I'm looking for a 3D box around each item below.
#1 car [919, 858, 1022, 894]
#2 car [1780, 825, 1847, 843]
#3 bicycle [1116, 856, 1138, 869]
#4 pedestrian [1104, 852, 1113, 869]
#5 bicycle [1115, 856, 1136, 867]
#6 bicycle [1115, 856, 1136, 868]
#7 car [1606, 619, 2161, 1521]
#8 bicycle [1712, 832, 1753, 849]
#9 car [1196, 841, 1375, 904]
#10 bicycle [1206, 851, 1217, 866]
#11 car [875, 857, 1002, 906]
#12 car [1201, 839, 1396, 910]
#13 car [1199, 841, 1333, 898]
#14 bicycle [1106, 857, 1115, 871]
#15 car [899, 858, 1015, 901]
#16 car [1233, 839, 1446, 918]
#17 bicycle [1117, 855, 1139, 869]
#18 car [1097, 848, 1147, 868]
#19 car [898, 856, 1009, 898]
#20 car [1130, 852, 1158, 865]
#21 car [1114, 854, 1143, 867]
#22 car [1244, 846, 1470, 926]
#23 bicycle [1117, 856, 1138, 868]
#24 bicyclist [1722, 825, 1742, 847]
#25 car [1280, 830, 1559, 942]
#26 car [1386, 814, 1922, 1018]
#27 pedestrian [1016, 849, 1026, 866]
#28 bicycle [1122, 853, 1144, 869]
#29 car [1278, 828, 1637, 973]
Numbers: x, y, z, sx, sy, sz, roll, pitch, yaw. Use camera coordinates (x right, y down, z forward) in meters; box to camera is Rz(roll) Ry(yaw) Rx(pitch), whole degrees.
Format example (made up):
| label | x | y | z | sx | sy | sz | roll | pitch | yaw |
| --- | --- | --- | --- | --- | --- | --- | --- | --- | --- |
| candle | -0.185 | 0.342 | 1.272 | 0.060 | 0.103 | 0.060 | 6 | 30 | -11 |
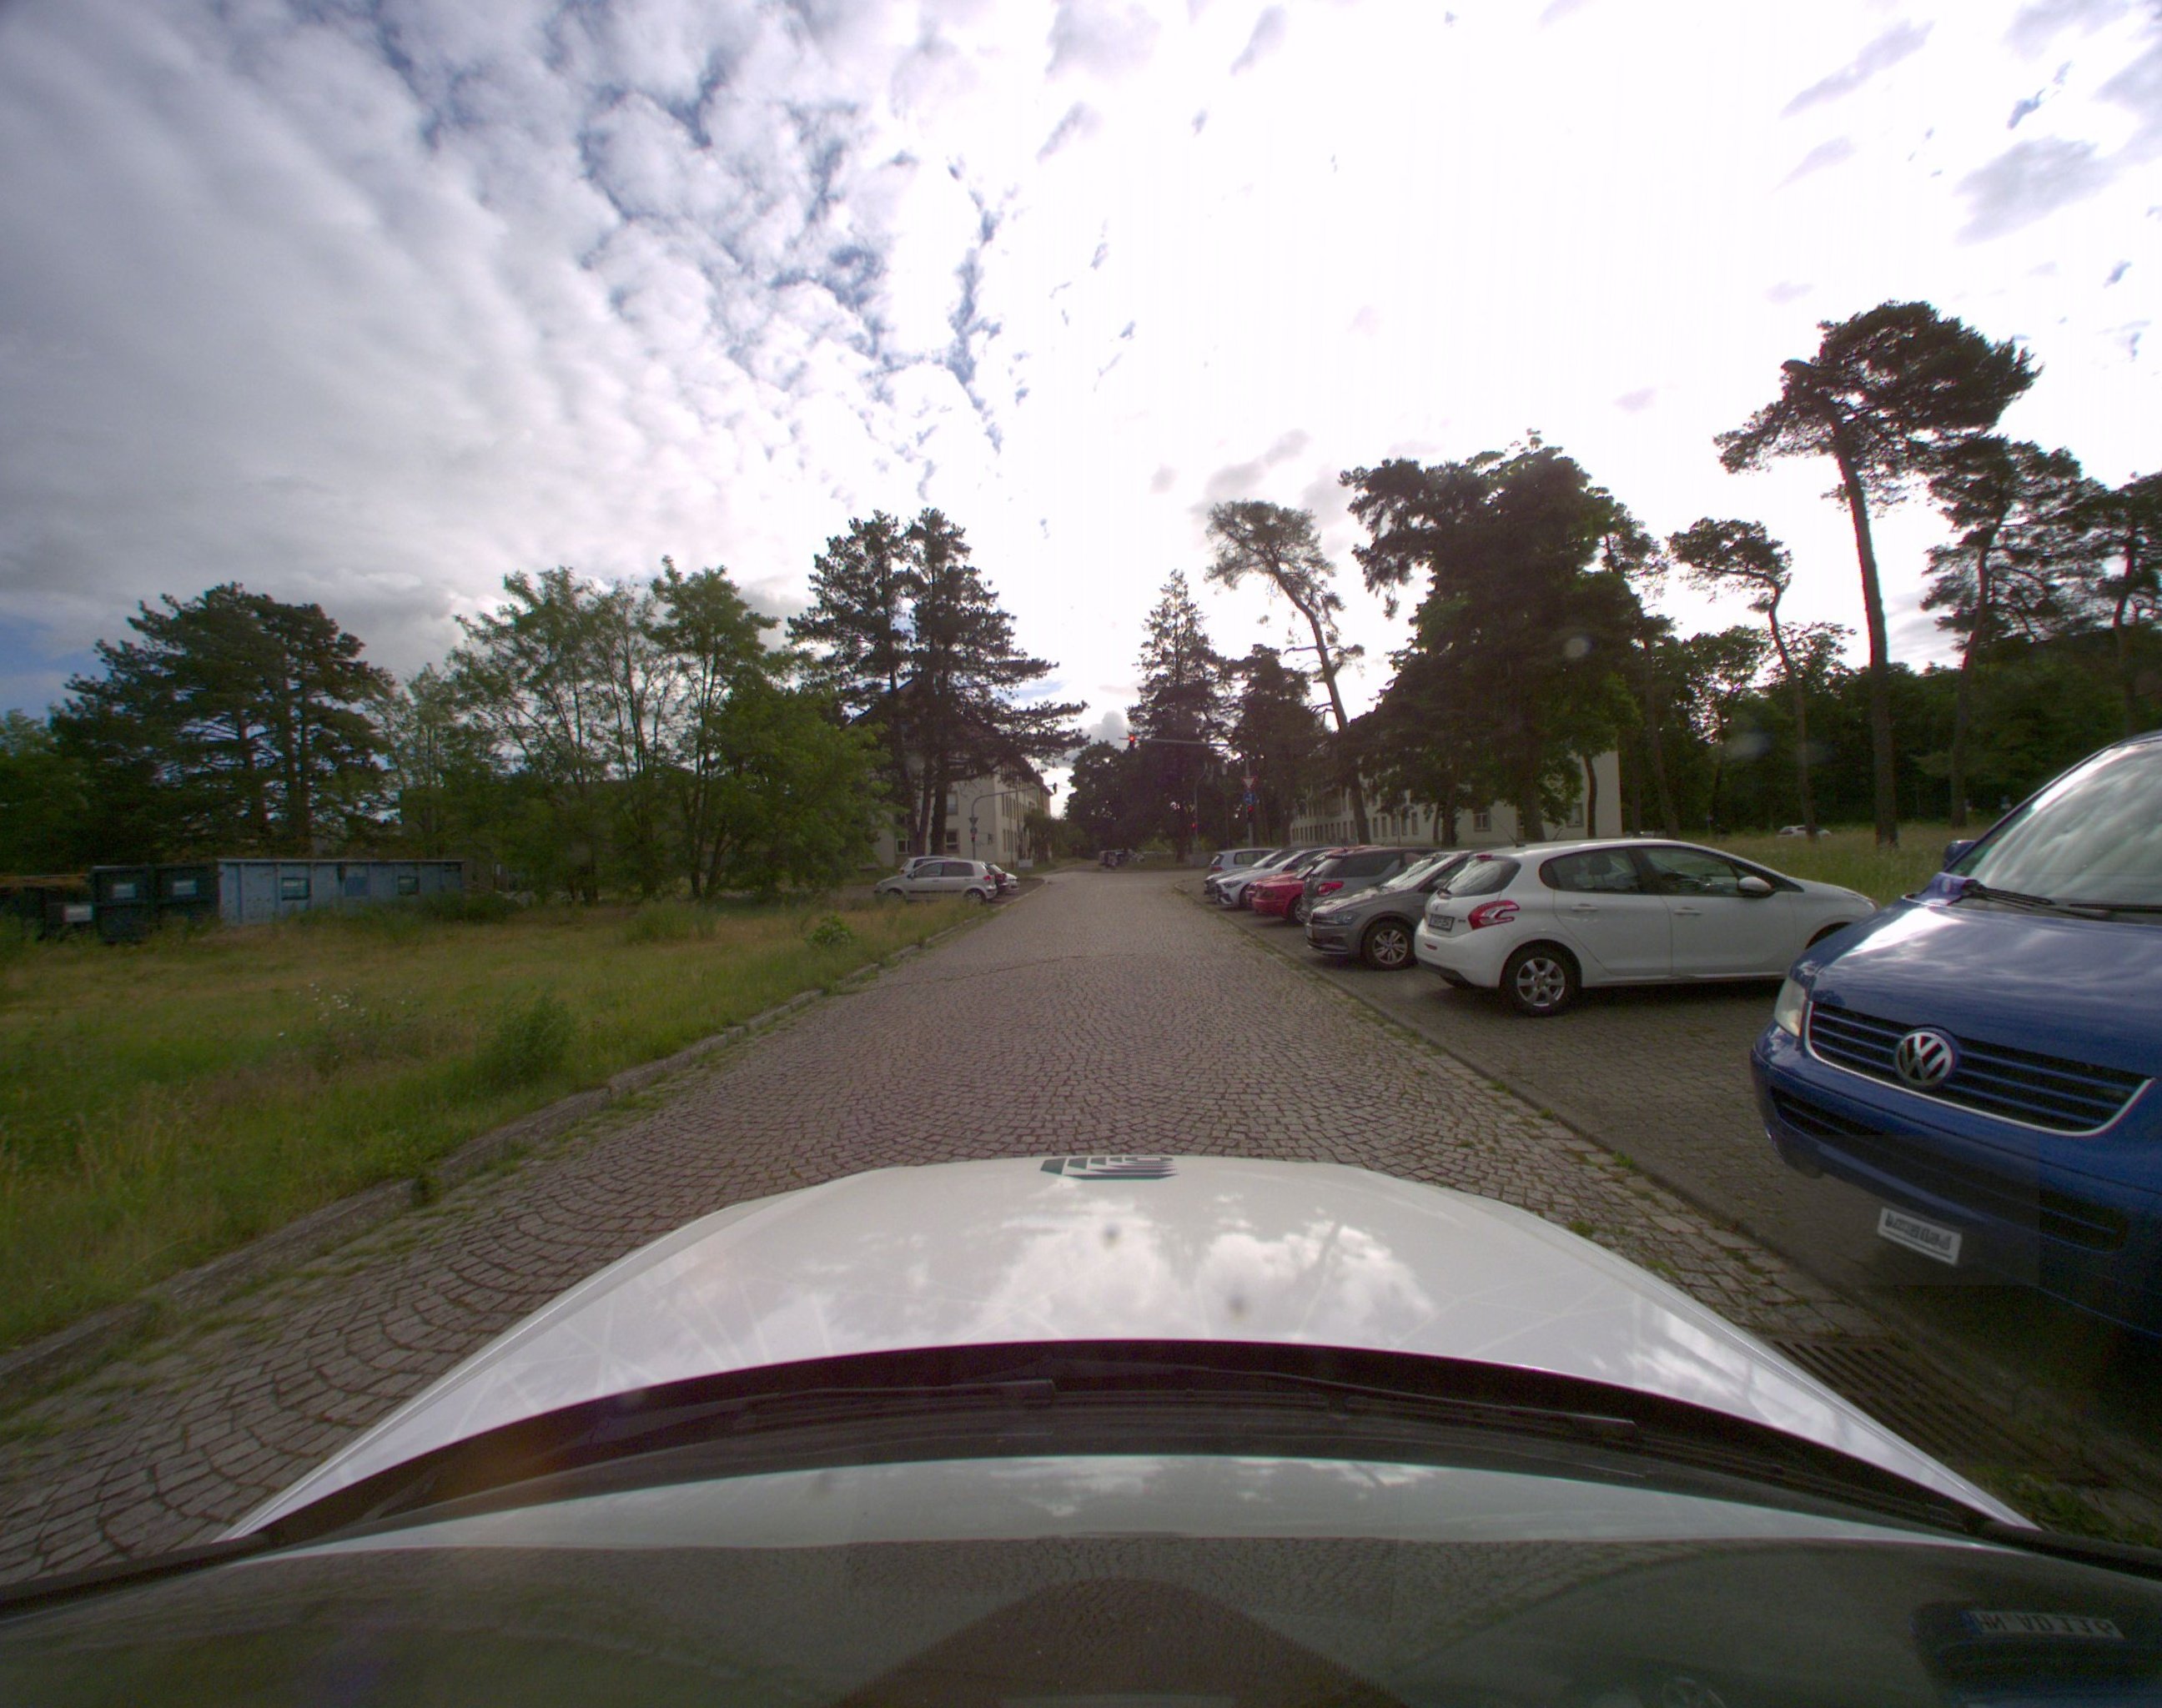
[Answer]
| label | x | y | z | sx | sy | sz | roll | pitch | yaw |
| --- | --- | --- | --- | --- | --- | --- | --- | --- | --- |
| car | -4.492 | 0.893 | 33.479 | 3.933 | 1.421 | 1.650 | 0 | 0 | 1 |
| car | 60.285 | -1.649 | 67.101 | 3.929 | 1.421 | 1.652 | 0 | 0 | 4 |
| bicycle | 4.291 | 0.752 | 75.646 | 1.952 | 1.117 | 0.587 | -2 | 0 | -5 |
| pedestrian | 2.637 | 0.624 | 76.867 | 0.735 | 1.618 | 0.777 | -3 | 0 | 4 |
| bicycle | 4.502 | 0.775 | 82.166 | 1.963 | 1.069 | 0.583 | -2 | 0 | -23 |
| bicycle | 4.242 | 0.782 | 77.132 | 1.966 | 1.069 | 0.582 | -2 | 0 | -28 |
| car | 4.697 | 0.313 | 2.494 | 4.791 | 1.945 | 2.003 | -4 | 0 | 0 |
| bicycle | 42.355 | -0.867 | 52.965 | 1.941 | 1.024 | 0.607 | -2 | 0 | 13 |
| car | 5.836 | 0.526 | 23.634 | 4.667 | 1.416 | 1.870 | -4 | 0 | -1 |
| bicycle | 10.036 | 0.330 | 62.742 | 0.584 | 1.106 | 1.962 | -2 | 0 | 2 |
| car | -4.418 | 0.850 | 25.551 | 3.692 | 1.479 | 1.582 | 0 | 0 | -1 |
| car | 5.516 | 0.495 | 20.954 | 4.418 | 1.416 | 1.866 | -4 | 0 | -7 |
| car | 5.851 | 0.488 | 26.088 | 3.910 | 1.477 | 1.644 | -4 | 0 | 3 |
| bicycle | 2.612 | 0.886 | 71.857 | 0.602 | 1.132 | 1.959 | -2 | 0 | -3 |
| car | -4.222 | 0.852 | 28.146 | 3.735 | 1.428 | 1.582 | 0 | 0 | -1 |
| car | 5.803 | 0.530 | 18.676 | 4.246 | 1.416 | 1.872 | -4 | 0 | 1 |
| bicycle | 4.330 | 0.726 | 75.012 | 1.952 | 1.132 | 0.587 | -2 | 0 | -5 |
| car | 4.627 | 0.496 | 93.105 | 5.356 | 1.925 | 2.020 | -4 | 0 | -7 |
| car | -4.788 | 0.858 | 30.942 | 3.936 | 1.563 | 1.649 | 0 | 0 | -1 |
| car | 7.498 | 0.505 | 96.912 | 3.222 | 1.416 | 1.724 | -3 | 0 | -1 |
| car | 5.228 | 0.738 | 89.704 | 3.000 | 1.268 | 1.533 | -3 | 0 | -4 |
| car | 5.354 | 0.603 | 16.151 | 3.849 | 1.236 | 1.758 | -4 | 0 | 0 |
| bicycle | 4.519 | 0.767 | 79.831 | 1.963 | 1.069 | 0.583 | -2 | 0 | -23 |
| bicyclist | 42.335 | -1.171 | 52.962 | 0.744 | 1.410 | 0.607 | -2 | 0 | 14 |
| car | 5.485 | 0.497 | 13.569 | 3.849 | 1.472 | 1.758 | -4 | 0 | 0 |
| car | 5.225 | 0.531 | 7.840 | 3.849 | 1.472 | 1.758 | -4 | 0 | 0 |
| pedestrian | -6.730 | 0.432 | 91.058 | 0.778 | 1.837 | 0.734 | -2 | 0 | -29 |
| bicycle | 4.858 | 0.652 | 76.464 | 1.952 | 1.384 | 0.587 | -2 | 0 | -5 |
| car | 4.779 | 0.554 | 10.713 | 3.852 | 1.472 | 1.757 | -4 | 0 | -2 |
